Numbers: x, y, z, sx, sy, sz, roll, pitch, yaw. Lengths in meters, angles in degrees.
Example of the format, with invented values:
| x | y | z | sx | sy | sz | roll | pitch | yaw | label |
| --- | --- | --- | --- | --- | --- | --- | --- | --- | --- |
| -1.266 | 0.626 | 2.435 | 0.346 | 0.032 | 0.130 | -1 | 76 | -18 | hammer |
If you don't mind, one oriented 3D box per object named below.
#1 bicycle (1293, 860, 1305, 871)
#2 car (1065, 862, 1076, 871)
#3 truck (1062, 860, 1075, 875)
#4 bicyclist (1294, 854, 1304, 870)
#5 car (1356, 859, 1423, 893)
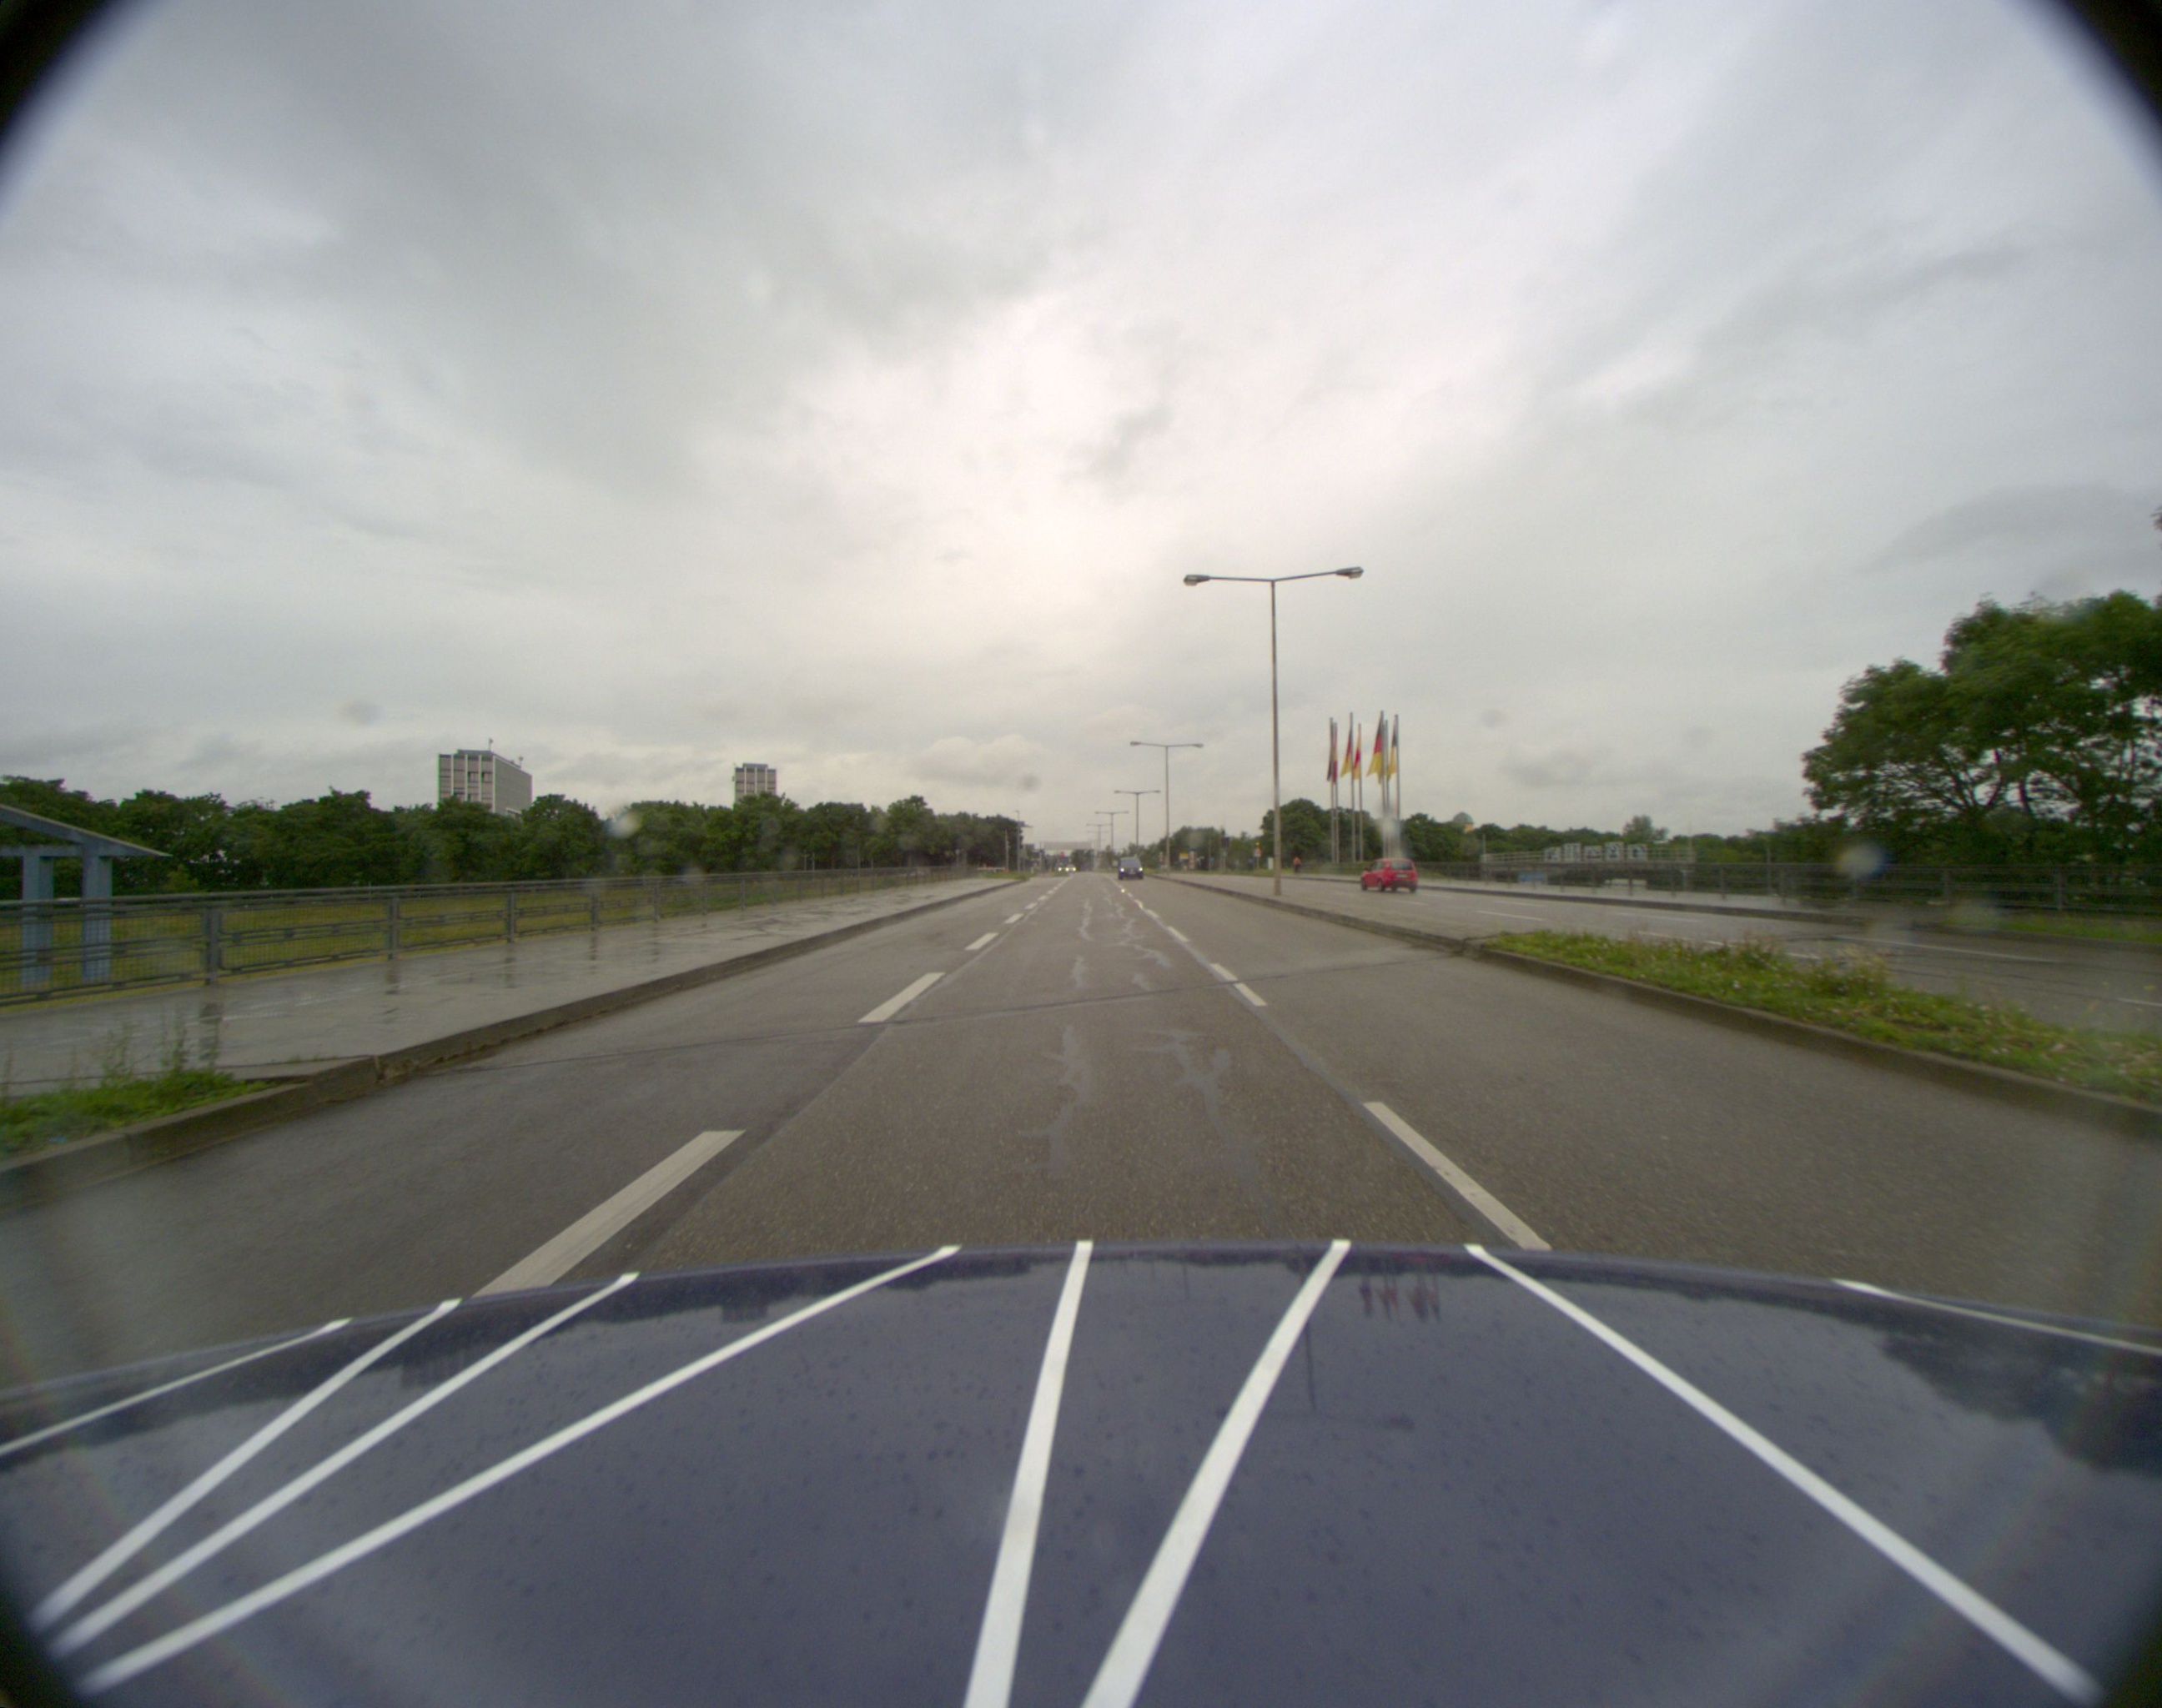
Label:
| x | y | z | sx | sy | sz | roll | pitch | yaw | label |
| --- | --- | --- | --- | --- | --- | --- | --- | --- | --- |
| 20.591 | 1.102 | 71.782 | 0.611 | 1.027 | 2.001 | -2 | 0 | 0 | bicycle |
| -2.076 | 2.419 | 145.171 | 1.999 | 1.700 | 3.999 | -1 | 0 | -2 | car |
| -2.947 | 3.140 | 175.772 | 2.860 | 3.196 | 8.096 | -1 | 0 | -2 | truck |
| 20.575 | 0.715 | 71.781 | 0.621 | 1.491 | 1.003 | -2 | 0 | 0 | bicyclist |
| 14.326 | 0.974 | 35.435 | 1.665 | 1.440 | 3.557 | 1 | 0 | 0 | car |
